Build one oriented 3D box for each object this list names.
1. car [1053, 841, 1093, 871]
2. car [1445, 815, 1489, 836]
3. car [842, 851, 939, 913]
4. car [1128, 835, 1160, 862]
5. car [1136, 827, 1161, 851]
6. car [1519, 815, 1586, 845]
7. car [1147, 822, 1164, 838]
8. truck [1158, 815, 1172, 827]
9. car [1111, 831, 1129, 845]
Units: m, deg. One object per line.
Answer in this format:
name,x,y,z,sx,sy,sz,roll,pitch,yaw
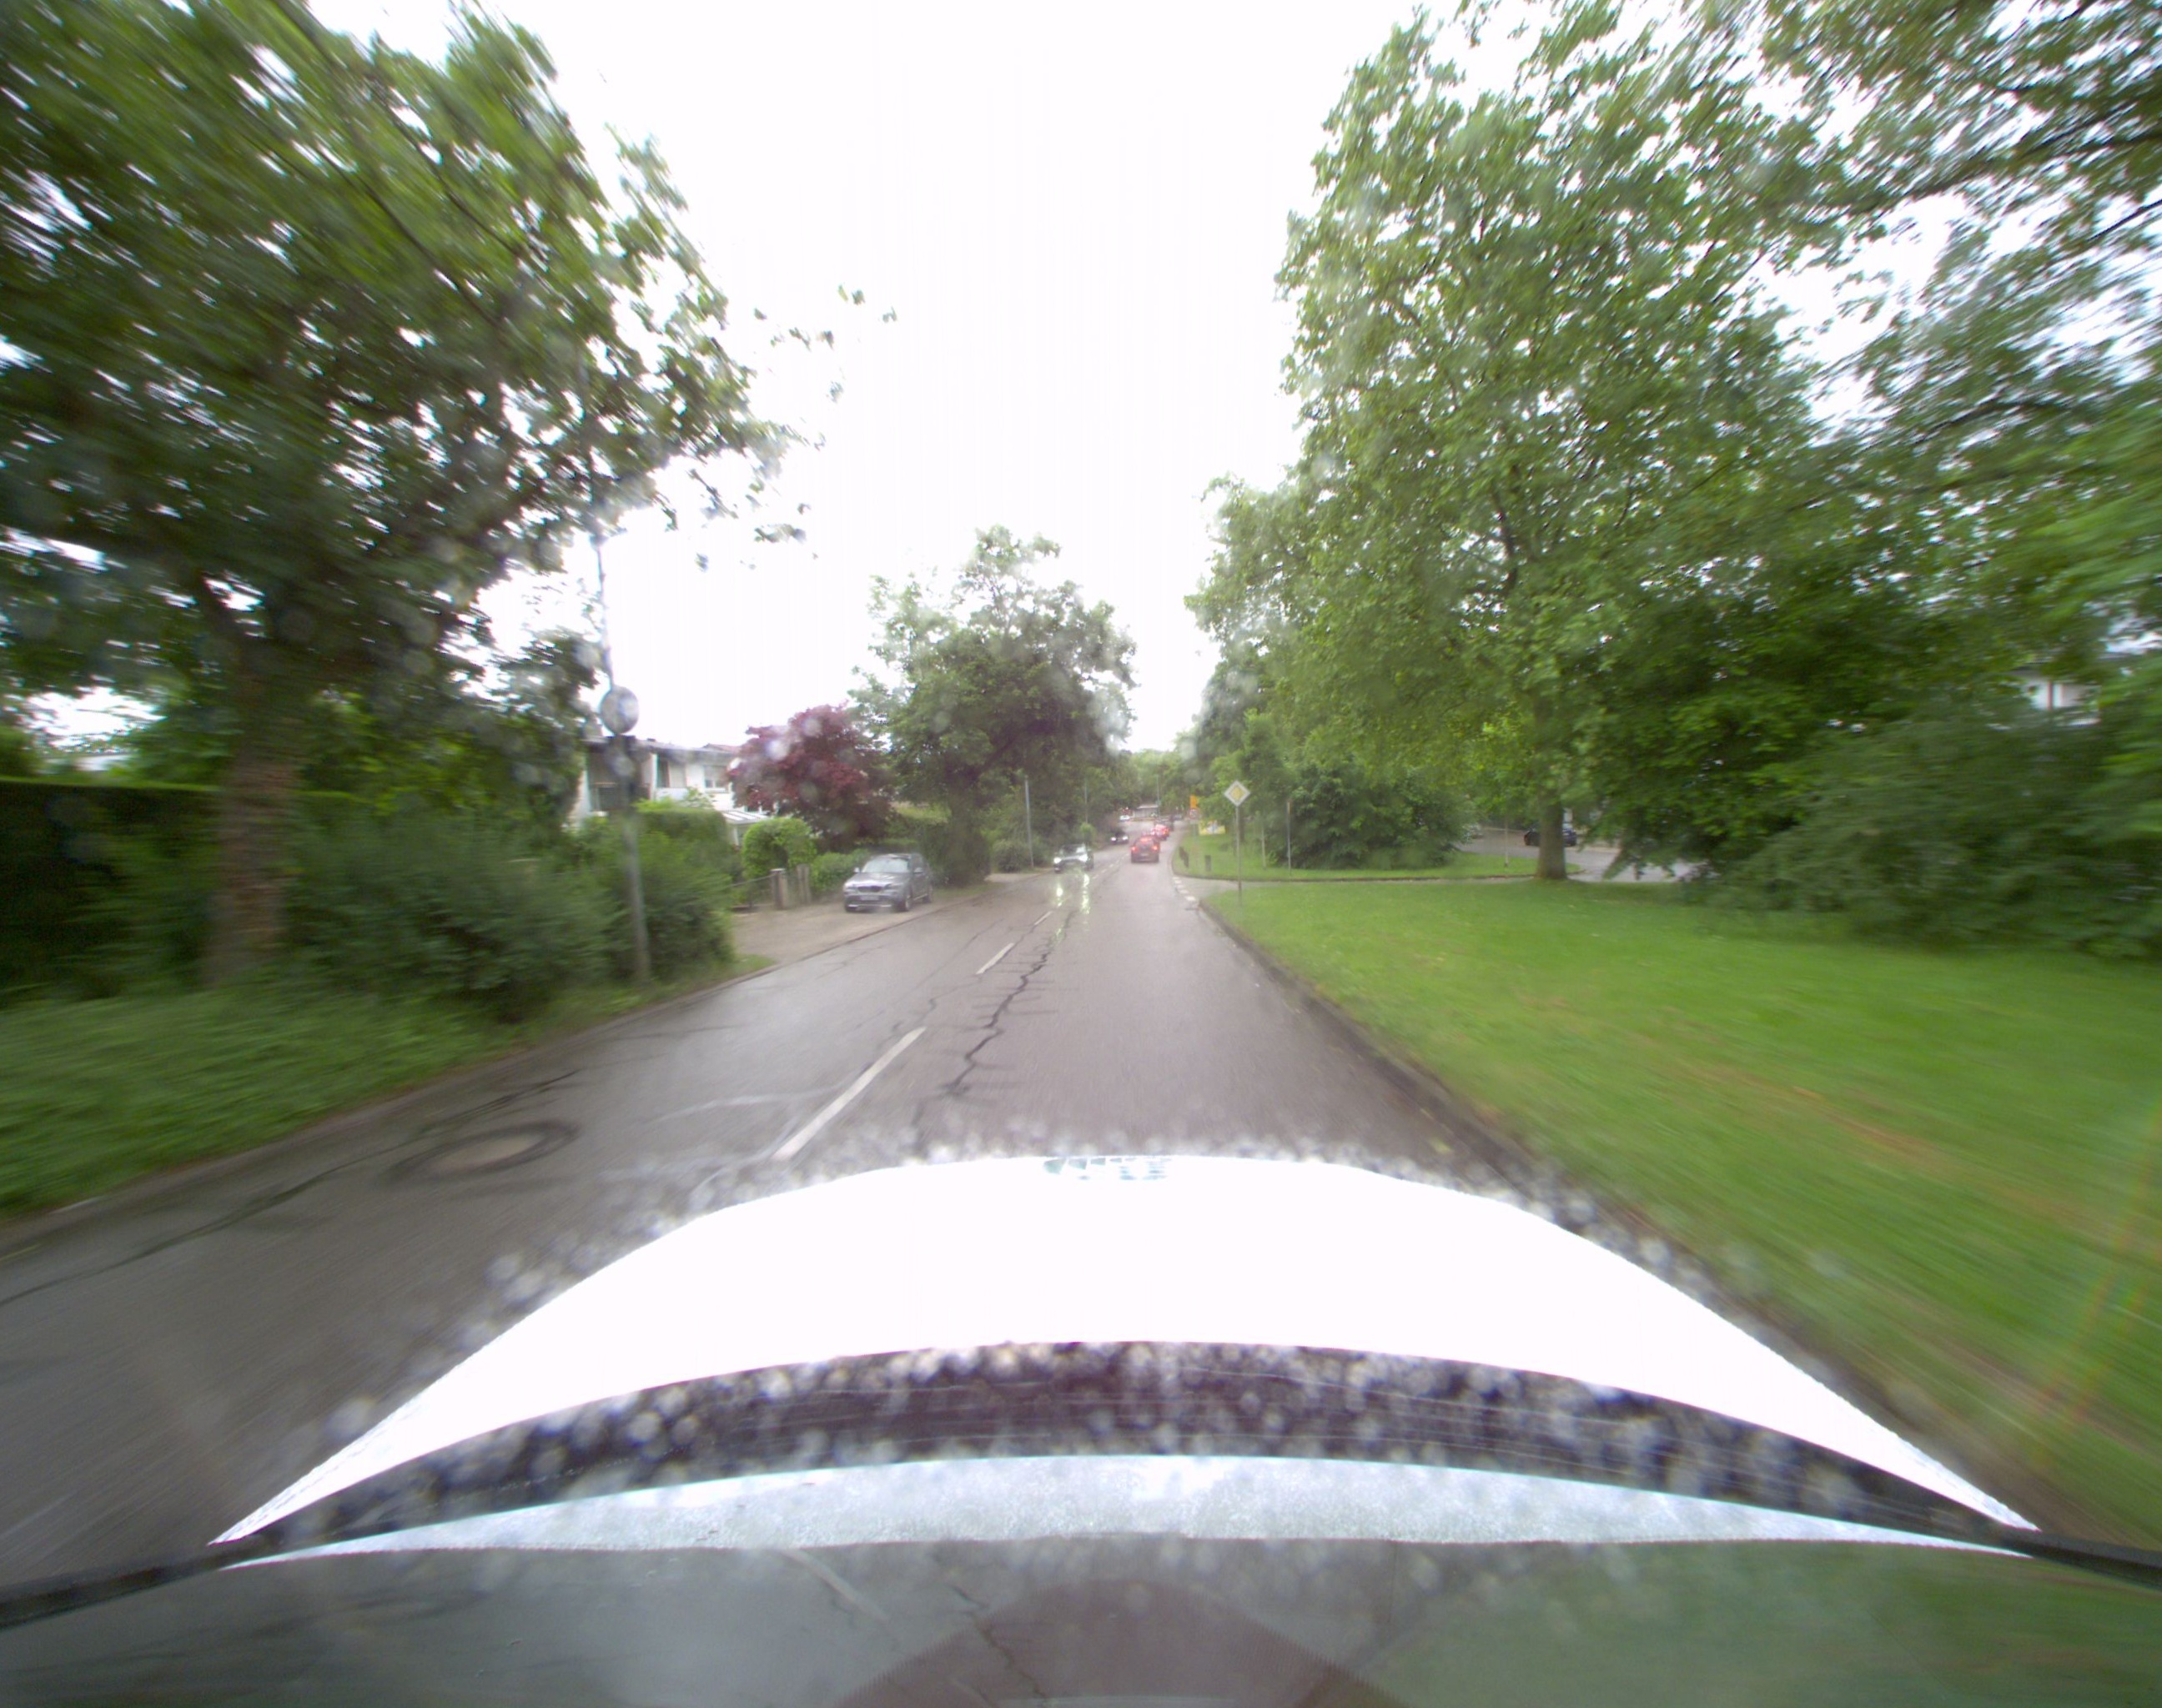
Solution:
car,-0.382,0.081,44.206,1.682,1.396,4.496,-5,0,4
car,29.201,-2.181,61.732,1.673,1.375,3.715,-5,2,4
car,-5.433,0.739,23.775,1.656,1.542,4.287,0,1,3
car,4.037,-0.382,51.825,1.789,1.515,3.763,-1,3,7
car,5.757,-1.292,69.311,1.845,1.784,4.010,-3,3,7
car,28.627,-1.478,49.628,1.893,1.624,4.040,-4,2,4
car,9.271,-3.028,101.205,1.845,1.784,4.010,-3,3,7
truck,15.136,-5.932,147.084,2.404,2.004,5.161,-3,3,6
car,4.560,-1.927,94.665,1.746,1.362,4.332,-4,2,5
